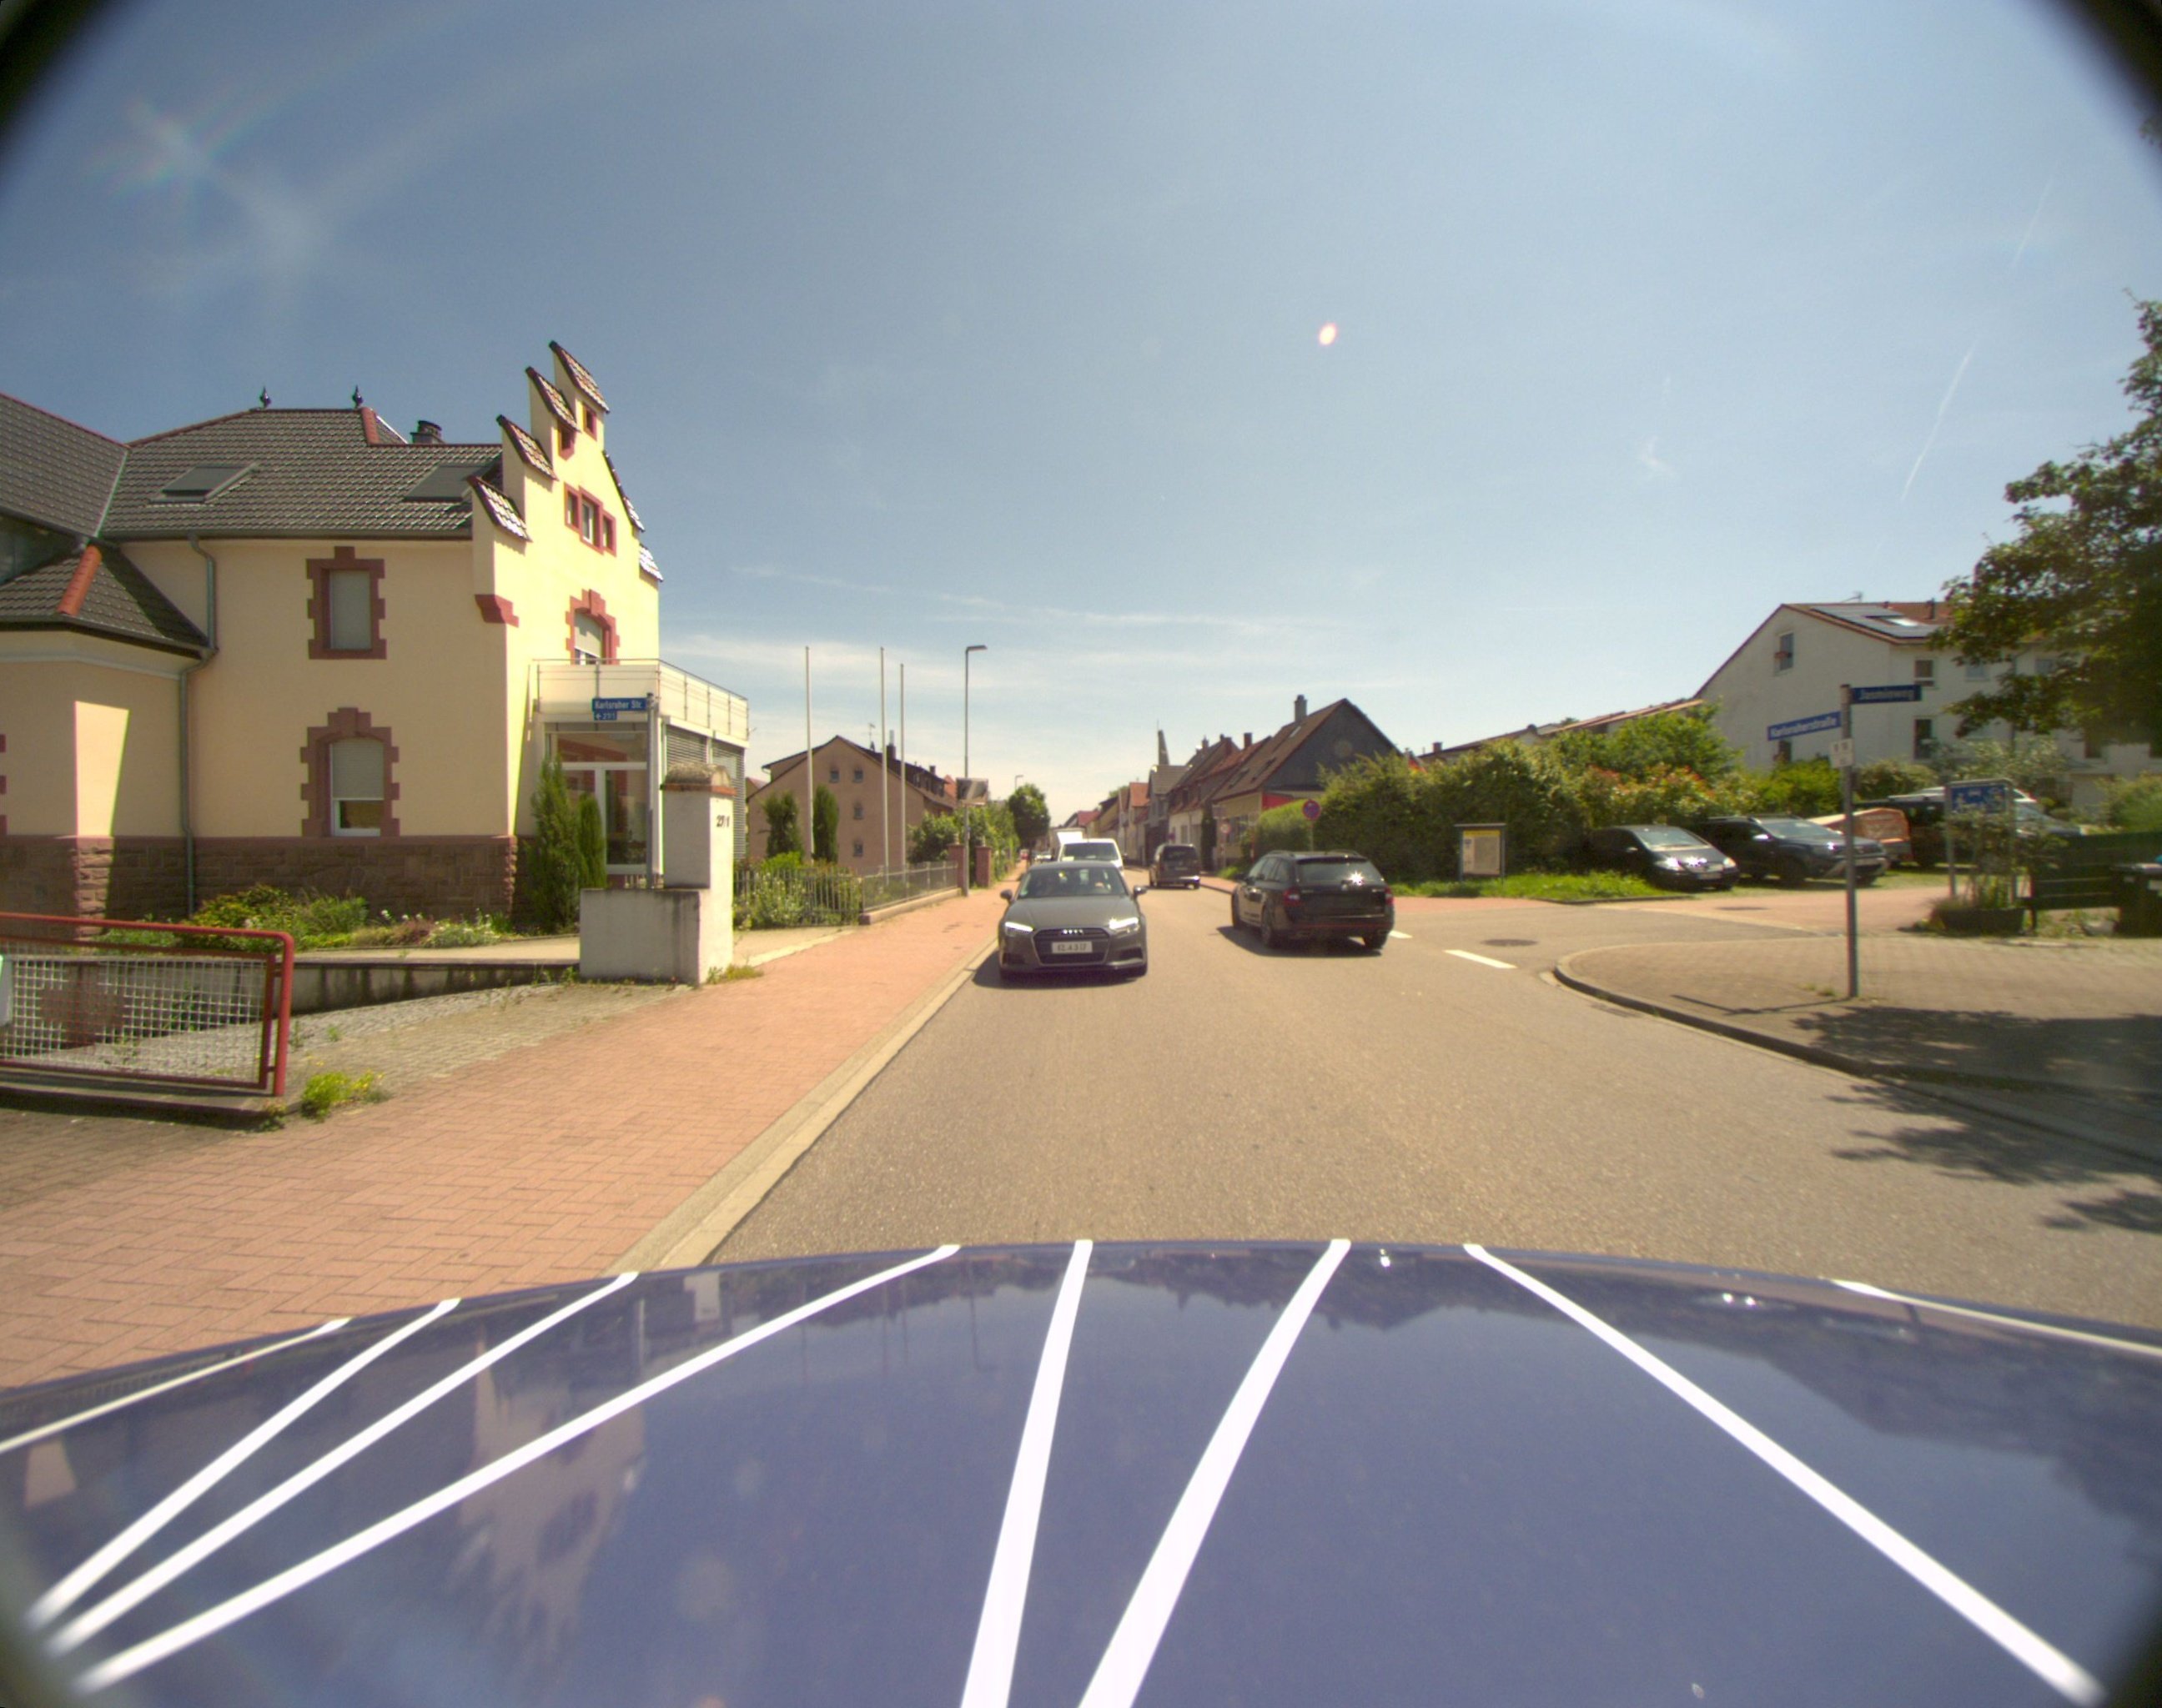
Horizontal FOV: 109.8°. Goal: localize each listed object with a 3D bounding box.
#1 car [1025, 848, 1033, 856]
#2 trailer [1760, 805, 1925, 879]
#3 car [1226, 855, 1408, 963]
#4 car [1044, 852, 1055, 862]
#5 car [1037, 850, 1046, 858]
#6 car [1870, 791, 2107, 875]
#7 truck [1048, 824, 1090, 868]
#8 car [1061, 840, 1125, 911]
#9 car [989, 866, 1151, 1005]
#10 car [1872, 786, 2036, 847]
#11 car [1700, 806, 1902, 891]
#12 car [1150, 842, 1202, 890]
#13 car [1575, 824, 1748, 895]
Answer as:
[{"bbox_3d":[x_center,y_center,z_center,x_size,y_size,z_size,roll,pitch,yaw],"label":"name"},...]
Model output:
[{"bbox_3d":[-10.665,-0.461,156.517,1.637,1.572,3.568,1,1,-4],"label":"car"},{"bbox_3d":[19.593,-0.298,19.693,1.430,1.654,2.691,-5,1,-4],"label":"trailer"},{"bbox_3d":[3.618,0.754,12.462,1.723,1.438,4.255,0,0,1],"label":"car"},{"bbox_3d":[-4.739,0.470,113.906,1.508,1.432,3.534,-3,1,-4],"label":"car"},{"bbox_3d":[-7.551,-0.035,146.026,1.508,1.432,3.534,-3,1,-4],"label":"car"},{"bbox_3d":[22.008,-0.487,18.657,1.627,1.771,3.551,-3,1,4],"label":"car"},{"bbox_3d":[-1.213,-0.685,66.924,2.899,3.516,12.947,-1,1,-4],"label":"truck"},{"bbox_3d":[0.283,0.538,21.645,1.637,1.833,3.569,-1,1,-1],"label":"car"},{"bbox_3d":[-0.129,0.914,10.206,1.705,1.346,3.999,-2,0,0],"label":"car"},{"bbox_3d":[27.549,-1.169,24.033,3.639,1.724,1.420,-3,2,-2],"label":"car"},{"bbox_3d":[17.080,-0.142,18.277,1.627,1.770,3.511,-3,1,4],"label":"car"},{"bbox_3d":[3.930,0.446,32.074,1.660,1.844,4.464,1,1,1],"label":"car"},{"bbox_3d":[14.327,0.099,19.026,1.627,1.532,3.652,-3,1,4],"label":"car"}]
